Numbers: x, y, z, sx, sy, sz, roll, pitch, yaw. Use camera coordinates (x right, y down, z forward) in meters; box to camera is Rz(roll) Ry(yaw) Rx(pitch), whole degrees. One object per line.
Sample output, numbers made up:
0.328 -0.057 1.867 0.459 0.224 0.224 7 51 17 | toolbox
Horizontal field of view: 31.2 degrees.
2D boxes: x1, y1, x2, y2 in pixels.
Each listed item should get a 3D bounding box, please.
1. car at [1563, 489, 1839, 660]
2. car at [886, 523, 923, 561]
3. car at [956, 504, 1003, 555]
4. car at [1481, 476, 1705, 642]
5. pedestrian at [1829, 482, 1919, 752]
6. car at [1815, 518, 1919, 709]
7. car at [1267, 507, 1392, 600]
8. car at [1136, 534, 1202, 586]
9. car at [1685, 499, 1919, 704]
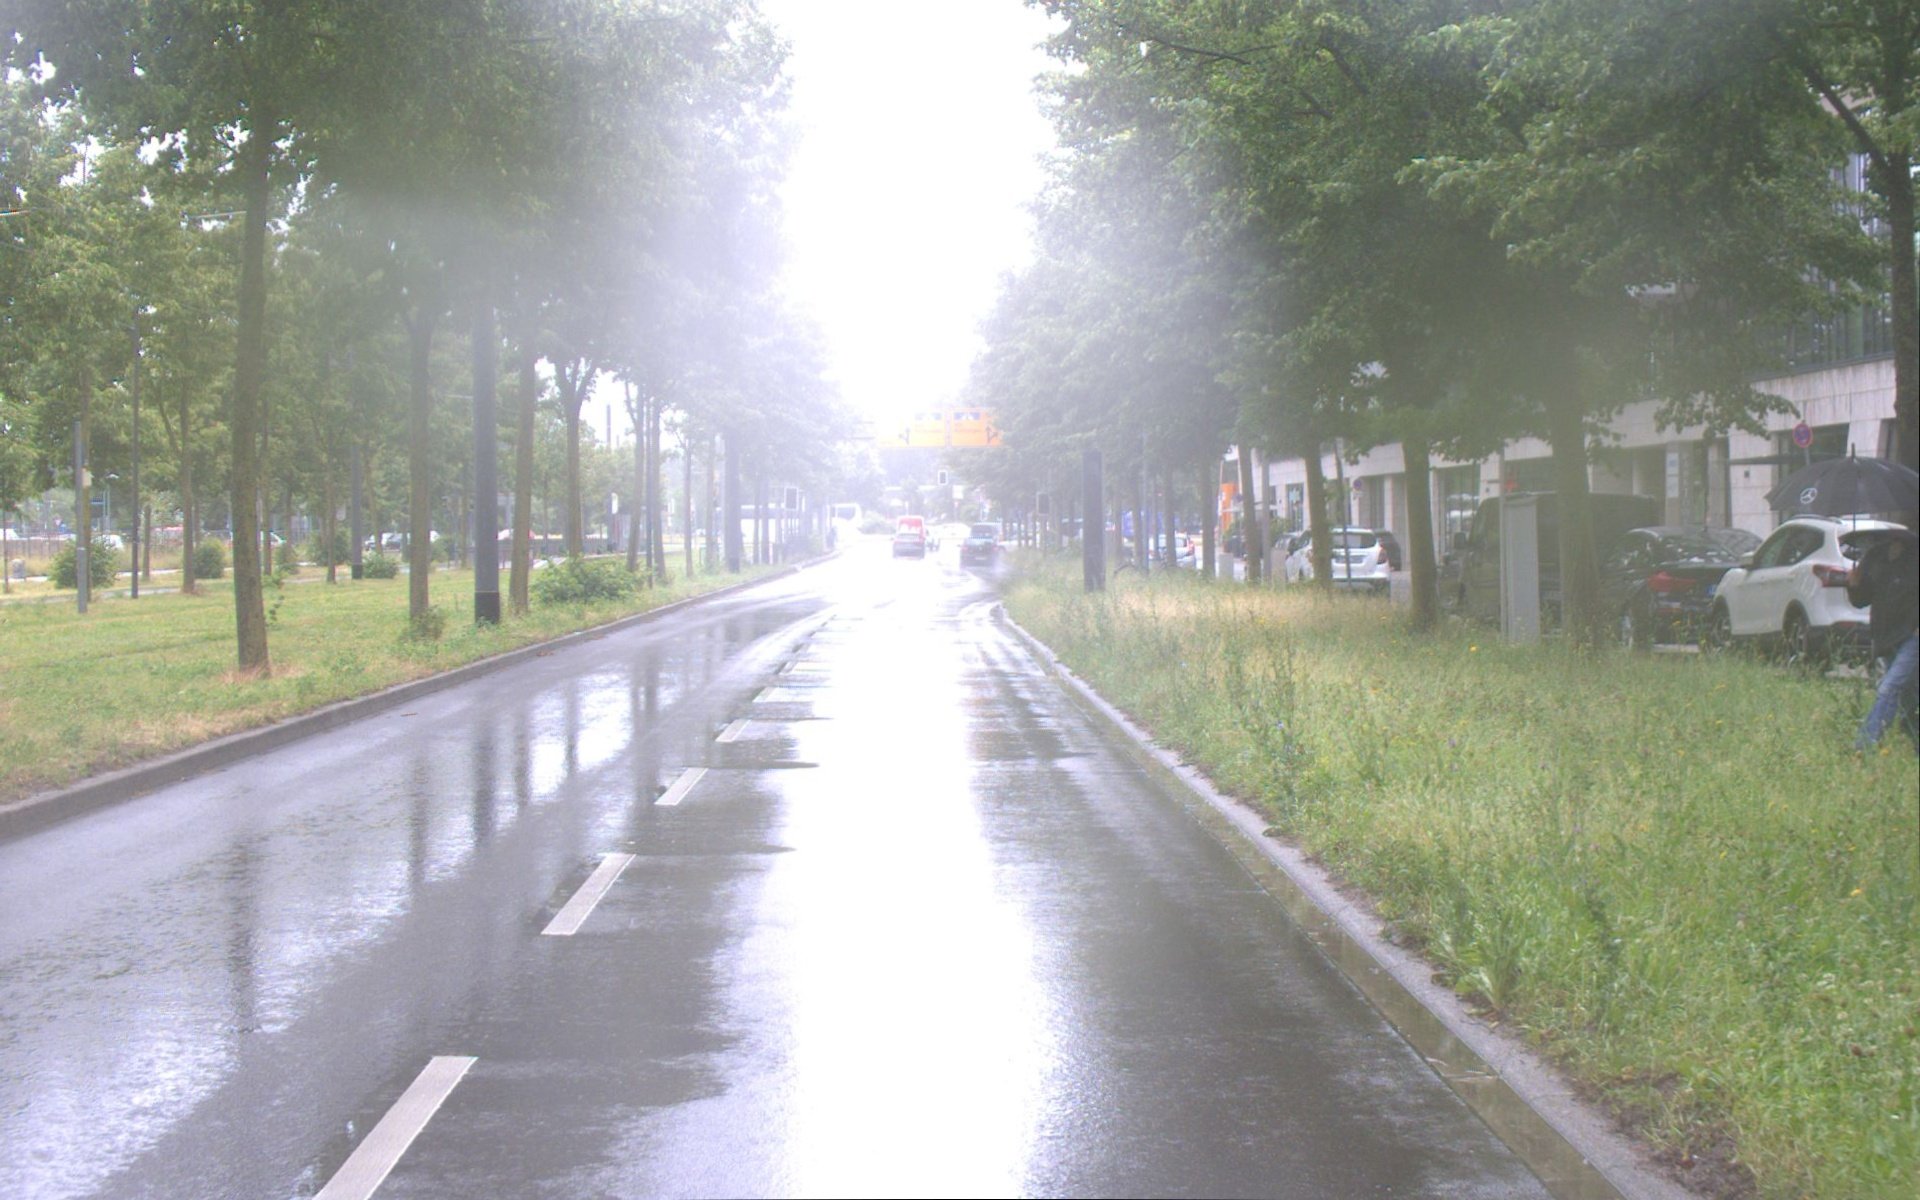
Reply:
8.256 -0.349 38.782 1.993 1.663 4.959 0 3 -1 | car
-3.242 -3.414 201.307 1.993 2.006 4.001 0 3 2 | car
0.819 -2.982 145.026 1.940 2.006 4.001 0 3 0 | car
8.330 -0.607 45.660 1.993 1.945 5.030 0 3 -1 | car
5.308 0.086 19.321 0.642 1.488 0.700 0 1 -3 | pedestrian
8.278 0.118 26.840 1.769 1.447 4.725 1 2 -3 | car
7.499 -0.985 70.186 1.993 1.663 4.725 0 3 -1 | car
7.042 -1.371 116.285 1.881 1.500 4.725 0 3 -1 | car
8.446 -0.059 32.839 1.993 1.663 4.725 0 3 -1 | car
